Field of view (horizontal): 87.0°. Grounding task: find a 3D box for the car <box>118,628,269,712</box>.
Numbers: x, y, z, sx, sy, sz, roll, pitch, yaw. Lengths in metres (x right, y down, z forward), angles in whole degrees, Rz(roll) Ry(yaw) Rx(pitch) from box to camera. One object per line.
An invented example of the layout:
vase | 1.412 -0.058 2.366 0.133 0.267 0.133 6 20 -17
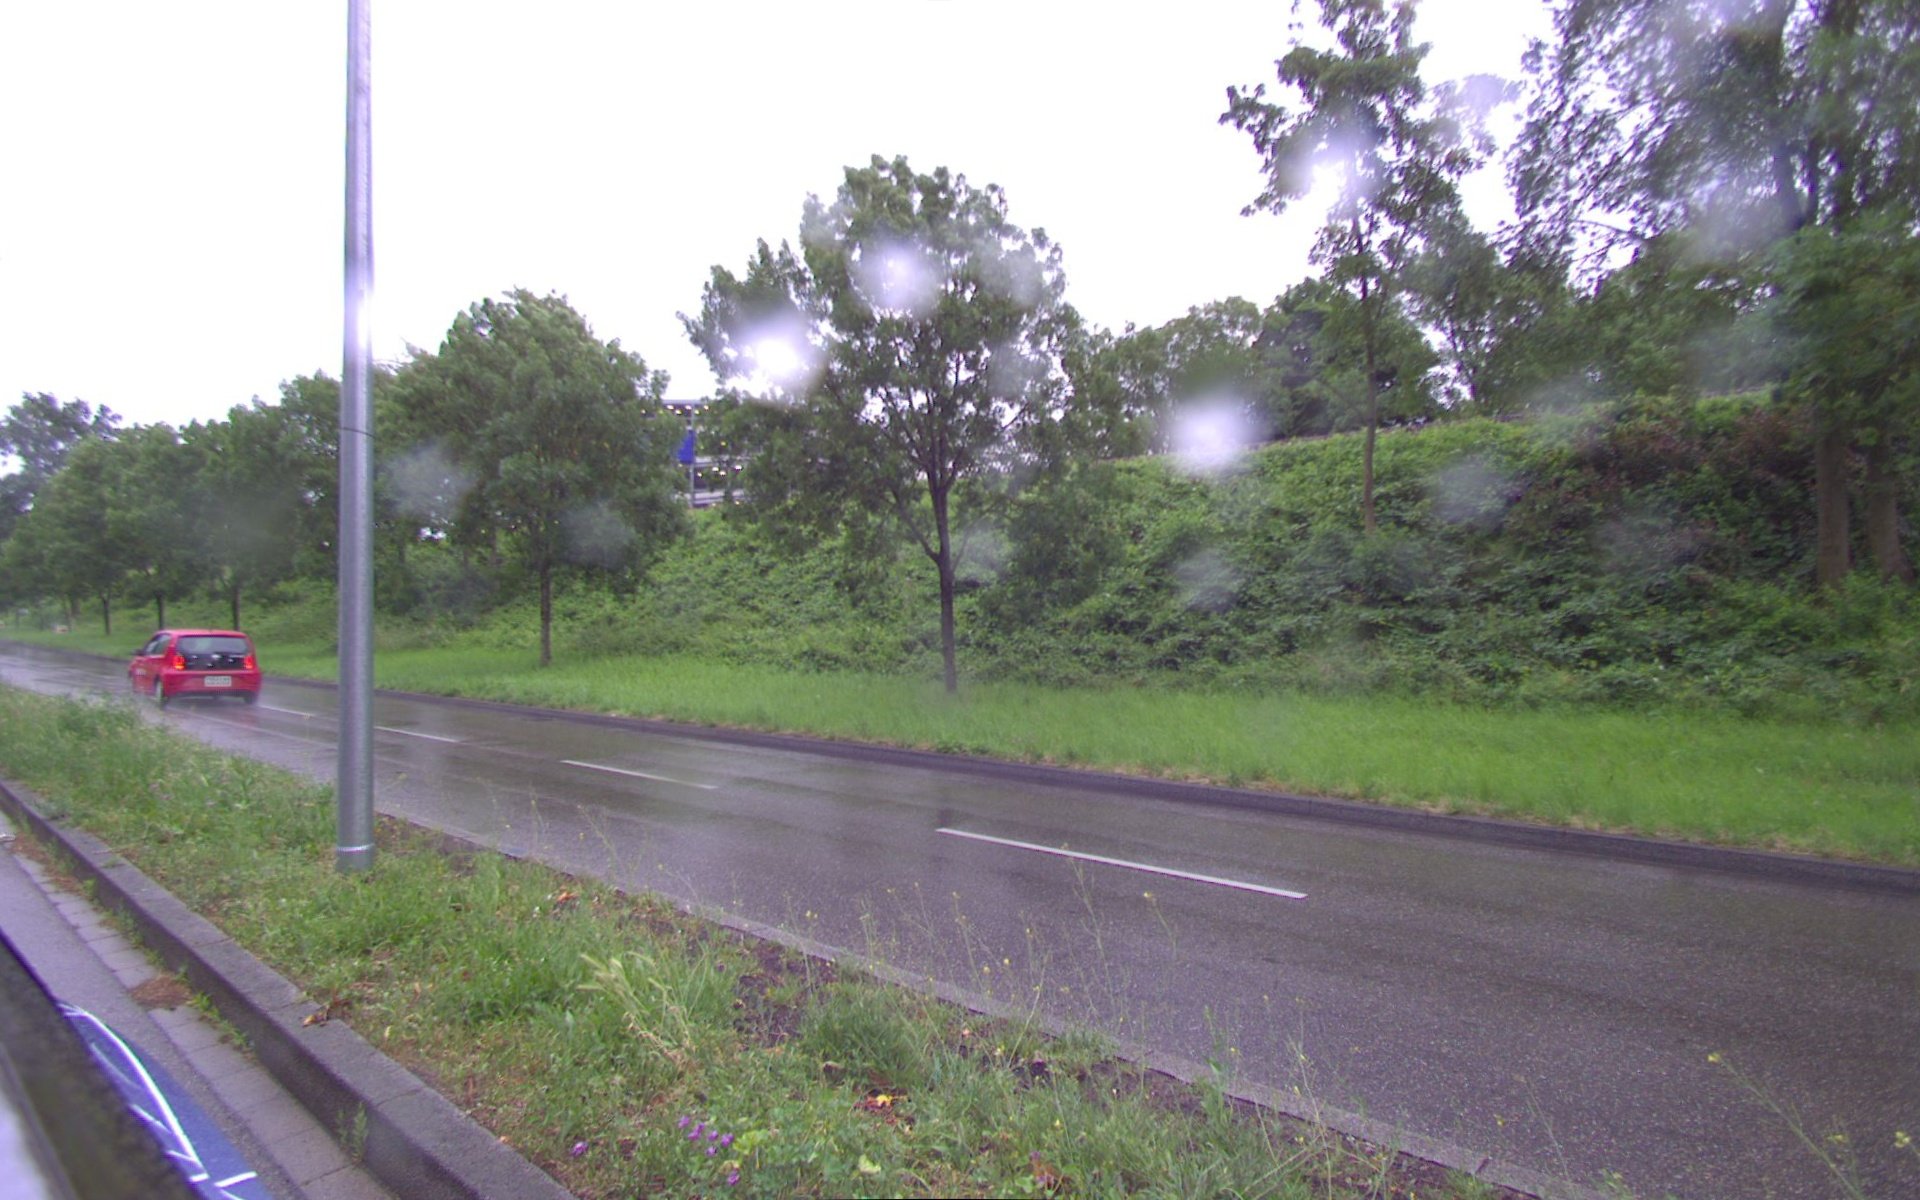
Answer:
car | -15.399 1.351 20.277 3.613 1.525 1.697 -2 -4 42
